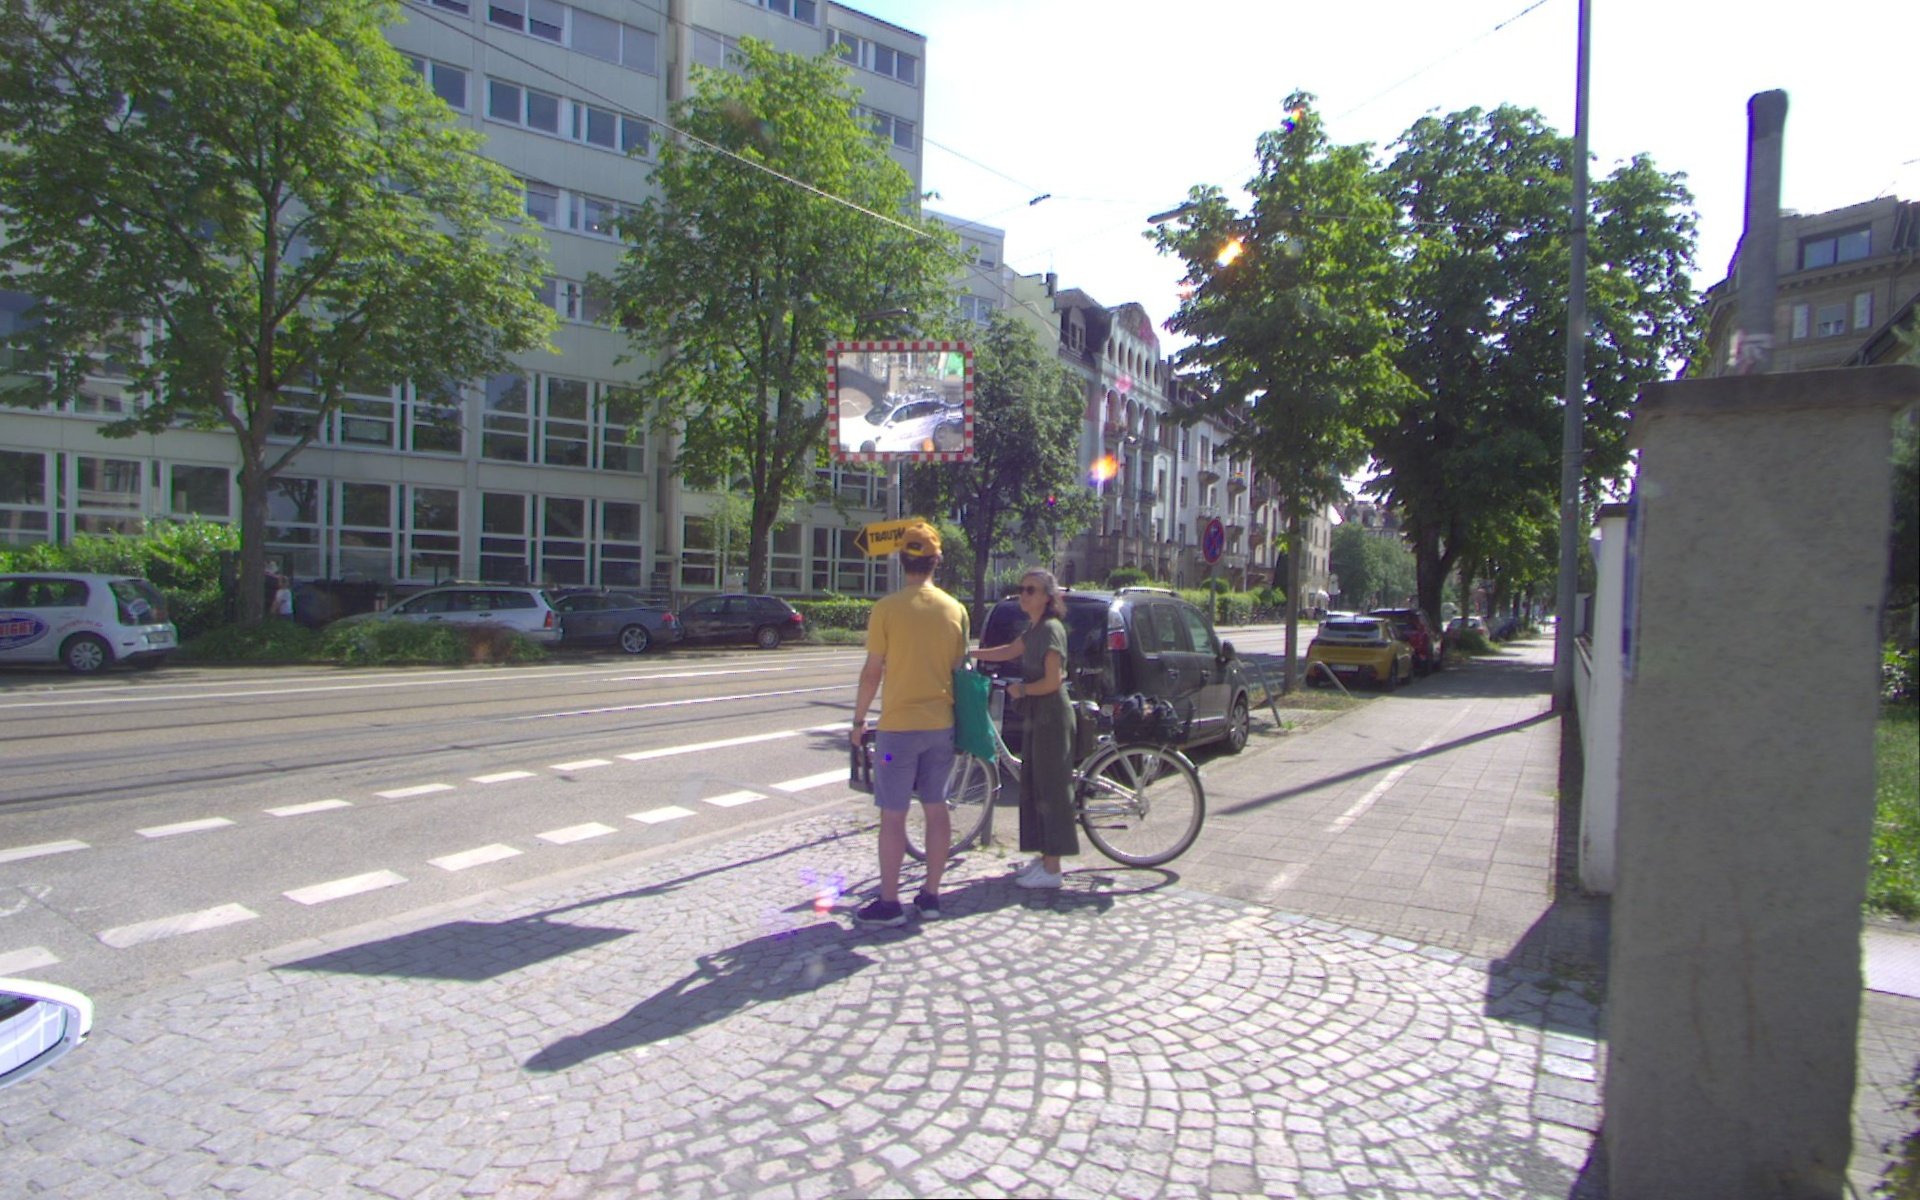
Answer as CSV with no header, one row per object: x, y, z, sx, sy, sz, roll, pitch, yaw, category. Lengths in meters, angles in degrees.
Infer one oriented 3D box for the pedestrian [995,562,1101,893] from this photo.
0.469,0.635,5.243,0.445,1.643,0.422,2,1,14,pedestrian

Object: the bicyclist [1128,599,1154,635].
7.992,0.733,44.171,0.793,1.563,0.859,2,1,35,bicyclist

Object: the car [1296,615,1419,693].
8.538,1.074,21.306,1.829,1.430,3.982,2,0,30,car

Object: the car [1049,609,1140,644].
6.504,1.273,48.589,3.928,1.528,1.997,2,0,-14,car

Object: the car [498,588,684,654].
-8.486,0.479,23.336,3.874,1.375,1.556,2,0,-14,car

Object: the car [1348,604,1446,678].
11.286,1.000,25.711,1.829,1.702,3.982,2,0,30,car

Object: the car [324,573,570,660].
-10.407,0.354,20.647,4.268,1.625,1.555,2,0,-17,car

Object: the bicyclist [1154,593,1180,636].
9.021,0.630,43.724,0.793,1.825,0.859,2,1,35,bicyclist

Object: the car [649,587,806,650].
-6.059,0.481,26.218,3.874,1.506,1.556,2,0,-14,car

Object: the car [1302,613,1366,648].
16.696,1.321,44.550,1.864,1.427,4.572,2,0,30,car

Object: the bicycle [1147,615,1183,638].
8.967,1.141,43.684,0.670,0.929,2.307,2,1,34,bicycle

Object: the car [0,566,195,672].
-14.009,0.257,14.866,3.873,1.506,1.611,1,1,-13,car

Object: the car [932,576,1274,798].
1.611,0.697,9.931,1.830,1.706,3.979,2,0,33,car

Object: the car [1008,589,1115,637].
4.246,0.529,41.980,3.933,1.884,1.994,2,1,-21,car

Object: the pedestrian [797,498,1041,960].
-0.159,0.519,4.601,0.838,1.890,0.828,2,1,18,pedestrian

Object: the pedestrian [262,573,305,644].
-14.282,0.179,21.145,0.418,1.480,0.619,2,1,29,pedestrian

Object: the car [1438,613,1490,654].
22.940,1.476,45.491,1.829,1.702,3.982,2,0,30,car

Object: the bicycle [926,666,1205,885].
0.586,0.941,5.584,1.484,1.055,0.363,2,1,14,bicycle
